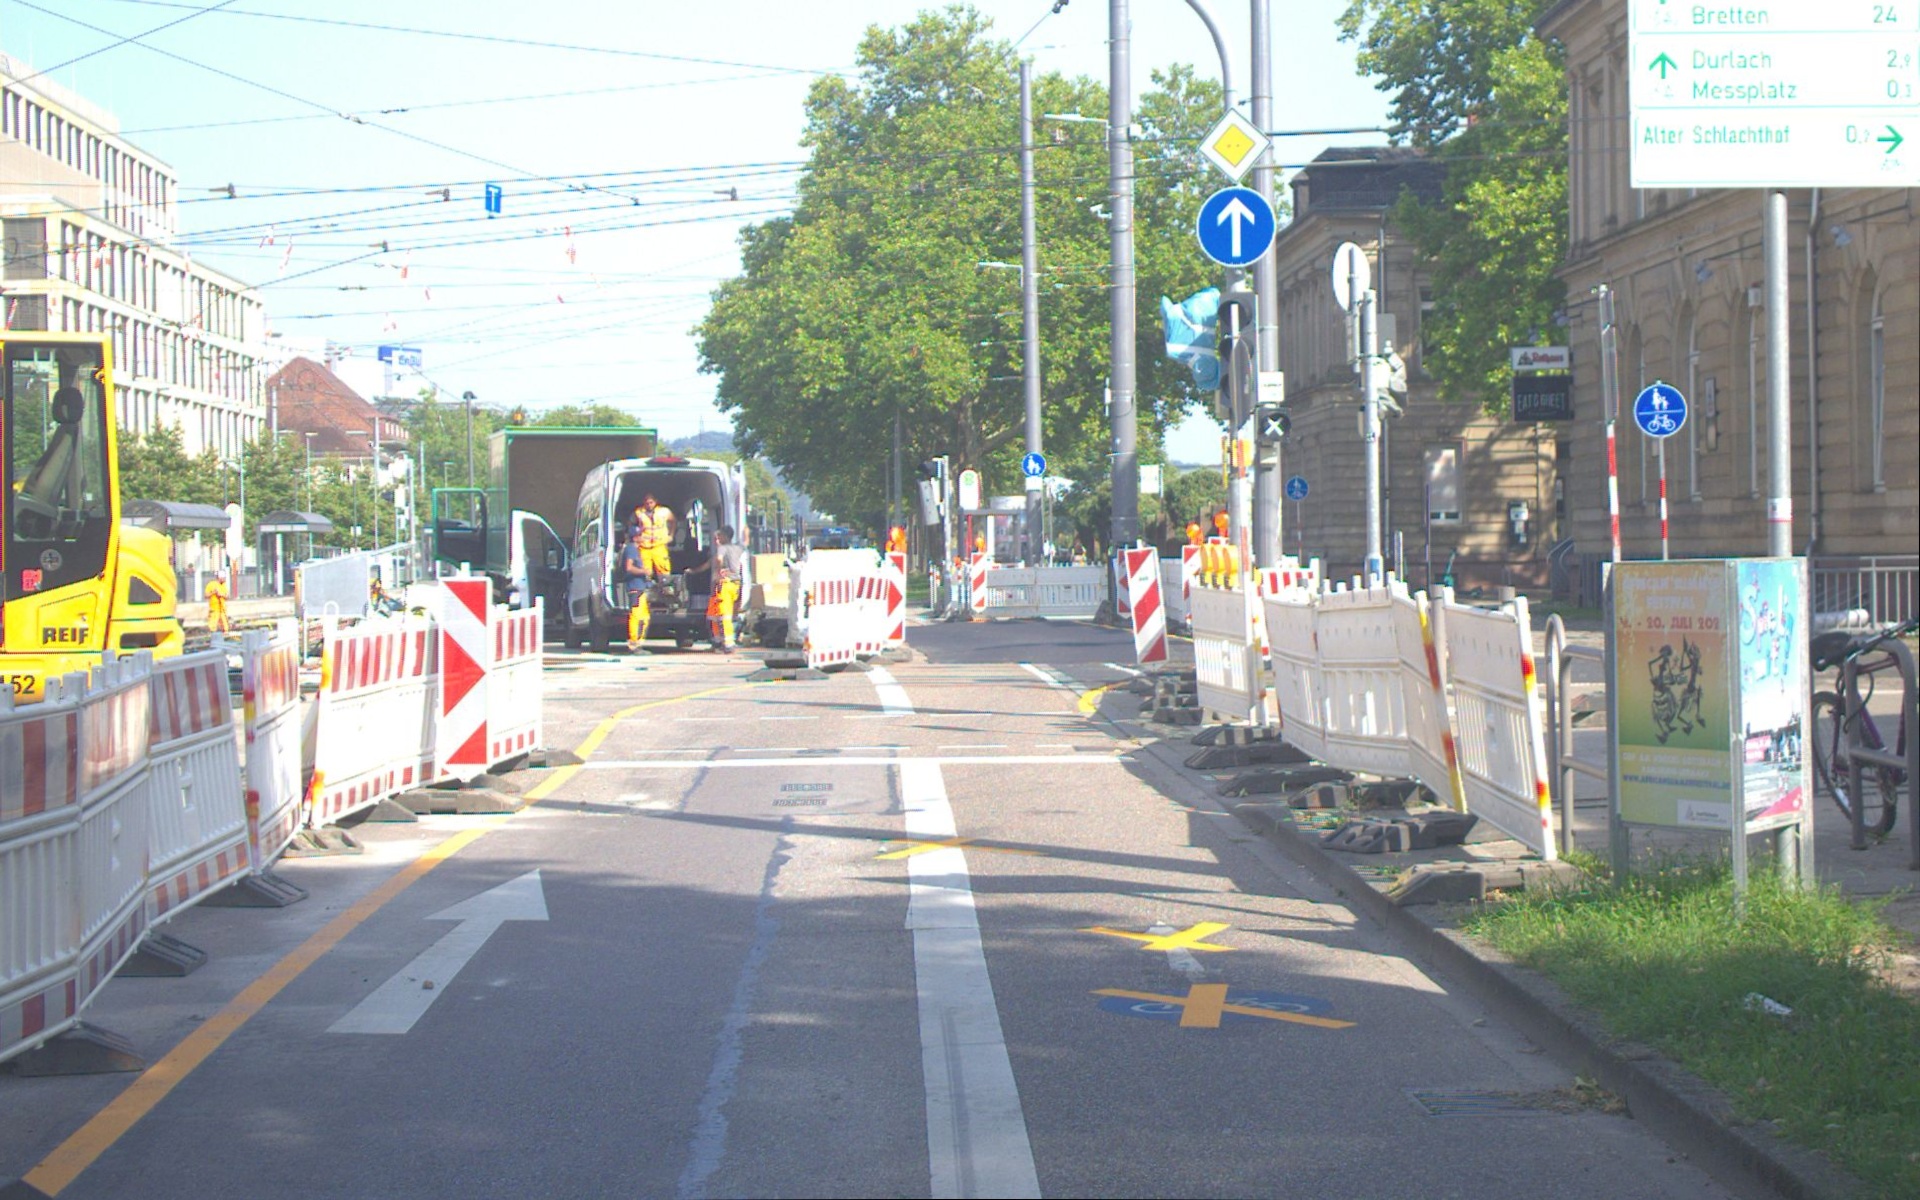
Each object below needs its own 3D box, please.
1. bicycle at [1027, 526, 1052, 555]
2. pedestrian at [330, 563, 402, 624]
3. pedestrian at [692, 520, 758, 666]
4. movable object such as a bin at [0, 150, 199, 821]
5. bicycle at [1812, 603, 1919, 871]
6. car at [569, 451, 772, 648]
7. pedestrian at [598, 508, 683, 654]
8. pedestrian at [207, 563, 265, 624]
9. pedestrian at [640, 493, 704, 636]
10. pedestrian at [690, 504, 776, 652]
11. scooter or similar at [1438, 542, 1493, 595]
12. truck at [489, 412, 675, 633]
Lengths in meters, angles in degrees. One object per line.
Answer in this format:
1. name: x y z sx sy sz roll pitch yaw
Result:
1. bicycle: 2.865 -2.154 123.854 0.717 1.038 1.903 -1 1 -4
2. pedestrian: -12.993 -0.151 75.202 1.313 1.302 0.797 -1 1 23
3. pedestrian: -3.293 -0.101 48.272 0.734 2.007 0.907 -1 0 5
4. movable object such as a bin: -7.119 -0.548 17.312 6.142 3.334 2.117 -1 1 -21
5. bicycle: 3.772 0.520 13.701 0.410 0.984 1.376 -1 1 1
6. car: -4.351 -0.733 50.824 2.224 2.720 5.172 -1 1 -13
7. pedestrian: -4.452 -0.274 47.895 0.735 2.007 0.906 -1 1 30
8. pedestrian: -15.934 -0.152 75.699 1.015 1.302 0.982 -1 1 2
9. pedestrian: -4.127 -0.512 49.347 0.734 2.007 0.907 -1 0 4
10. pedestrian: -3.118 -0.305 47.247 0.735 2.007 0.905 -1 1 32
11. scooter or similar: 12.178 -0.761 82.800 1.251 1.206 0.423 -3 3 -26
12. truck: -6.919 -1.373 61.930 2.673 3.666 8.216 -1 1 -10
